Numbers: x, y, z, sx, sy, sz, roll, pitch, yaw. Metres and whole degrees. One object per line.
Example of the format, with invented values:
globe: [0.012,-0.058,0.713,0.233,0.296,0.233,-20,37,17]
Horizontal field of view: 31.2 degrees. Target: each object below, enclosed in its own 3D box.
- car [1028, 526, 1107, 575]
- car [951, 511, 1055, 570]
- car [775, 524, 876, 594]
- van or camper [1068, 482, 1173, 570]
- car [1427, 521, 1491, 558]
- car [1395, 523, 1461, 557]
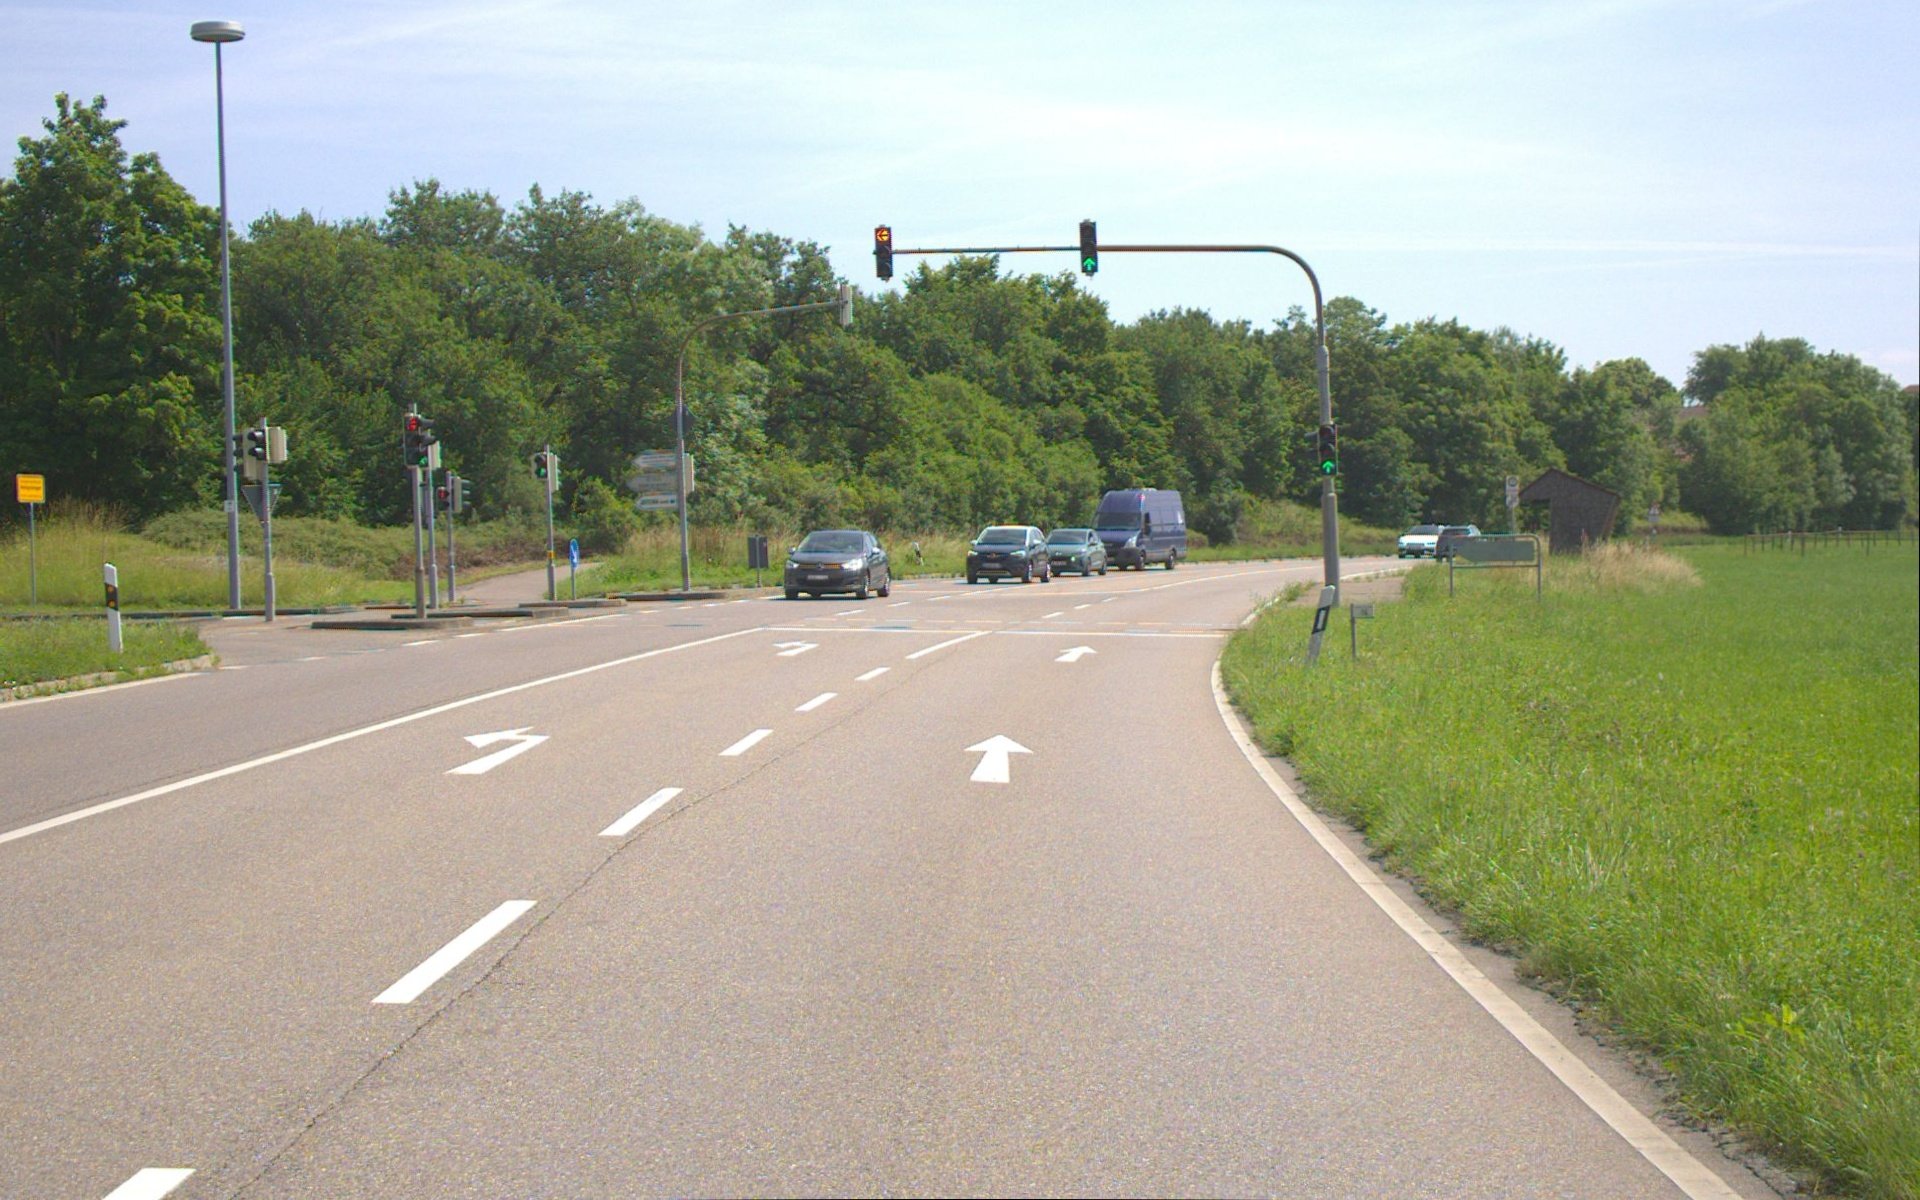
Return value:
car: [3.363,-1.549,106.919,1.708,1.478,3.830,0,1,14]
car: [1.207,-1.625,94.031,1.975,1.557,4.187,0,1,13]
car: [-2.883,-0.909,74.322,1.791,1.469,4.310,0,1,3]
van or camper: [5.599,-2.606,118.999,2.241,2.904,7.243,0,2,14]
car: [21.440,-2.601,147.649,1.995,1.568,3.996,0,1,19]
car: [22.025,-2.815,161.606,1.939,1.543,4.622,0,1,23]
